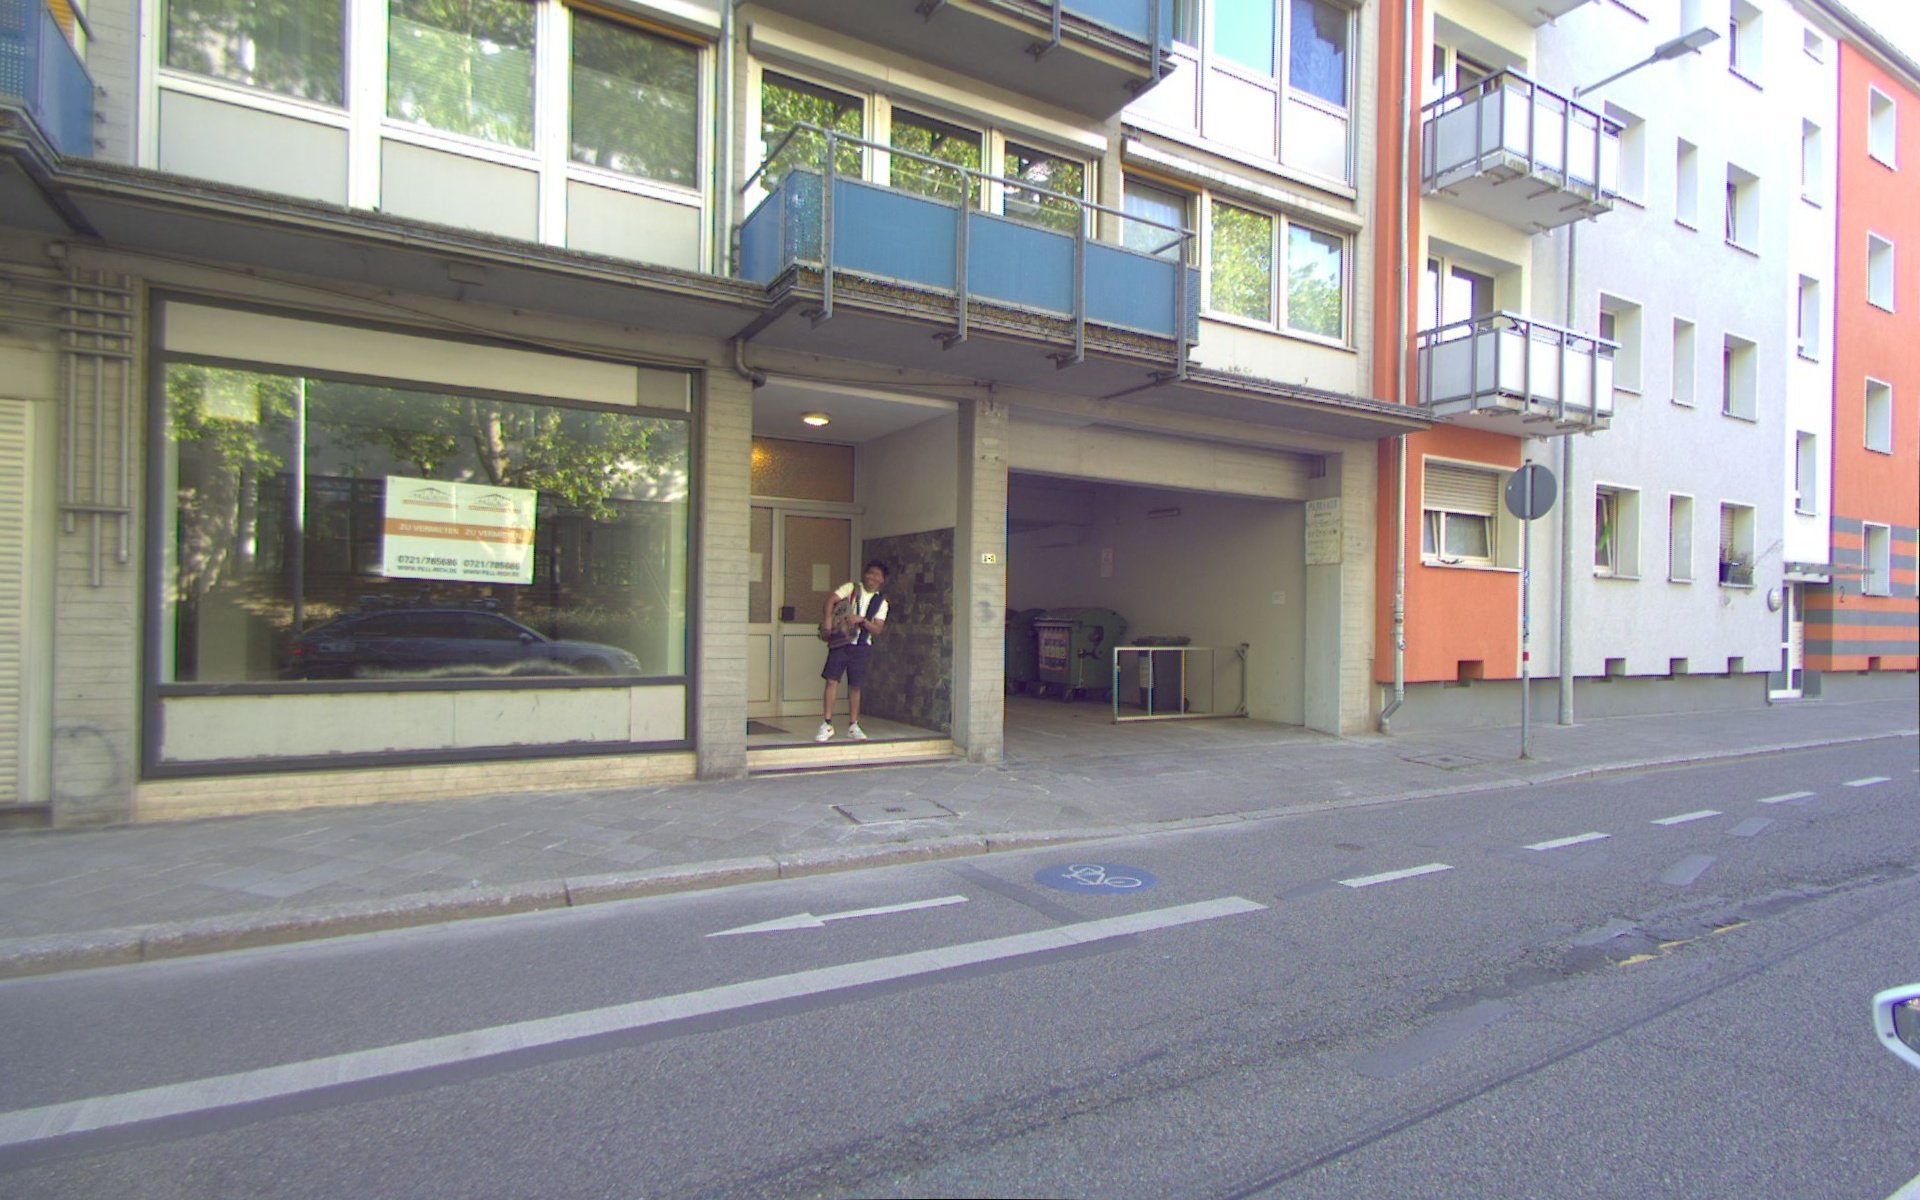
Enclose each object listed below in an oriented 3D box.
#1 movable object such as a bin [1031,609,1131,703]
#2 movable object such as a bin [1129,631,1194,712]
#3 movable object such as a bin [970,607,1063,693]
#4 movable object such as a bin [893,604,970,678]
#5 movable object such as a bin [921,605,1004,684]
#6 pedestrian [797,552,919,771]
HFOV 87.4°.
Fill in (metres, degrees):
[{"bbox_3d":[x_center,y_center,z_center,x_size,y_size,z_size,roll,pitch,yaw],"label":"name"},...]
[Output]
[{"bbox_3d":[1.892,0.858,15.811,1.066,1.384,1.192,2,0,-27],"label":"movable object such as a bin"},{"bbox_3d":[2.892,1.017,14.460,0.650,1.115,0.626,2,0,-27],"label":"movable object such as a bin"},{"bbox_3d":[0.950,0.835,17.125,1.066,1.384,1.255,2,0,-27],"label":"movable object such as a bin"},{"bbox_3d":[-0.570,0.801,19.863,1.066,1.384,1.255,2,0,-27],"label":"movable object such as a bin"},{"bbox_3d":[0.039,0.814,18.694,1.066,1.384,1.255,2,0,-27],"label":"movable object such as a bin"},{"bbox_3d":[-0.945,0.544,9.253,0.882,1.902,0.703,2,0,-28],"label":"pedestrian"}]
